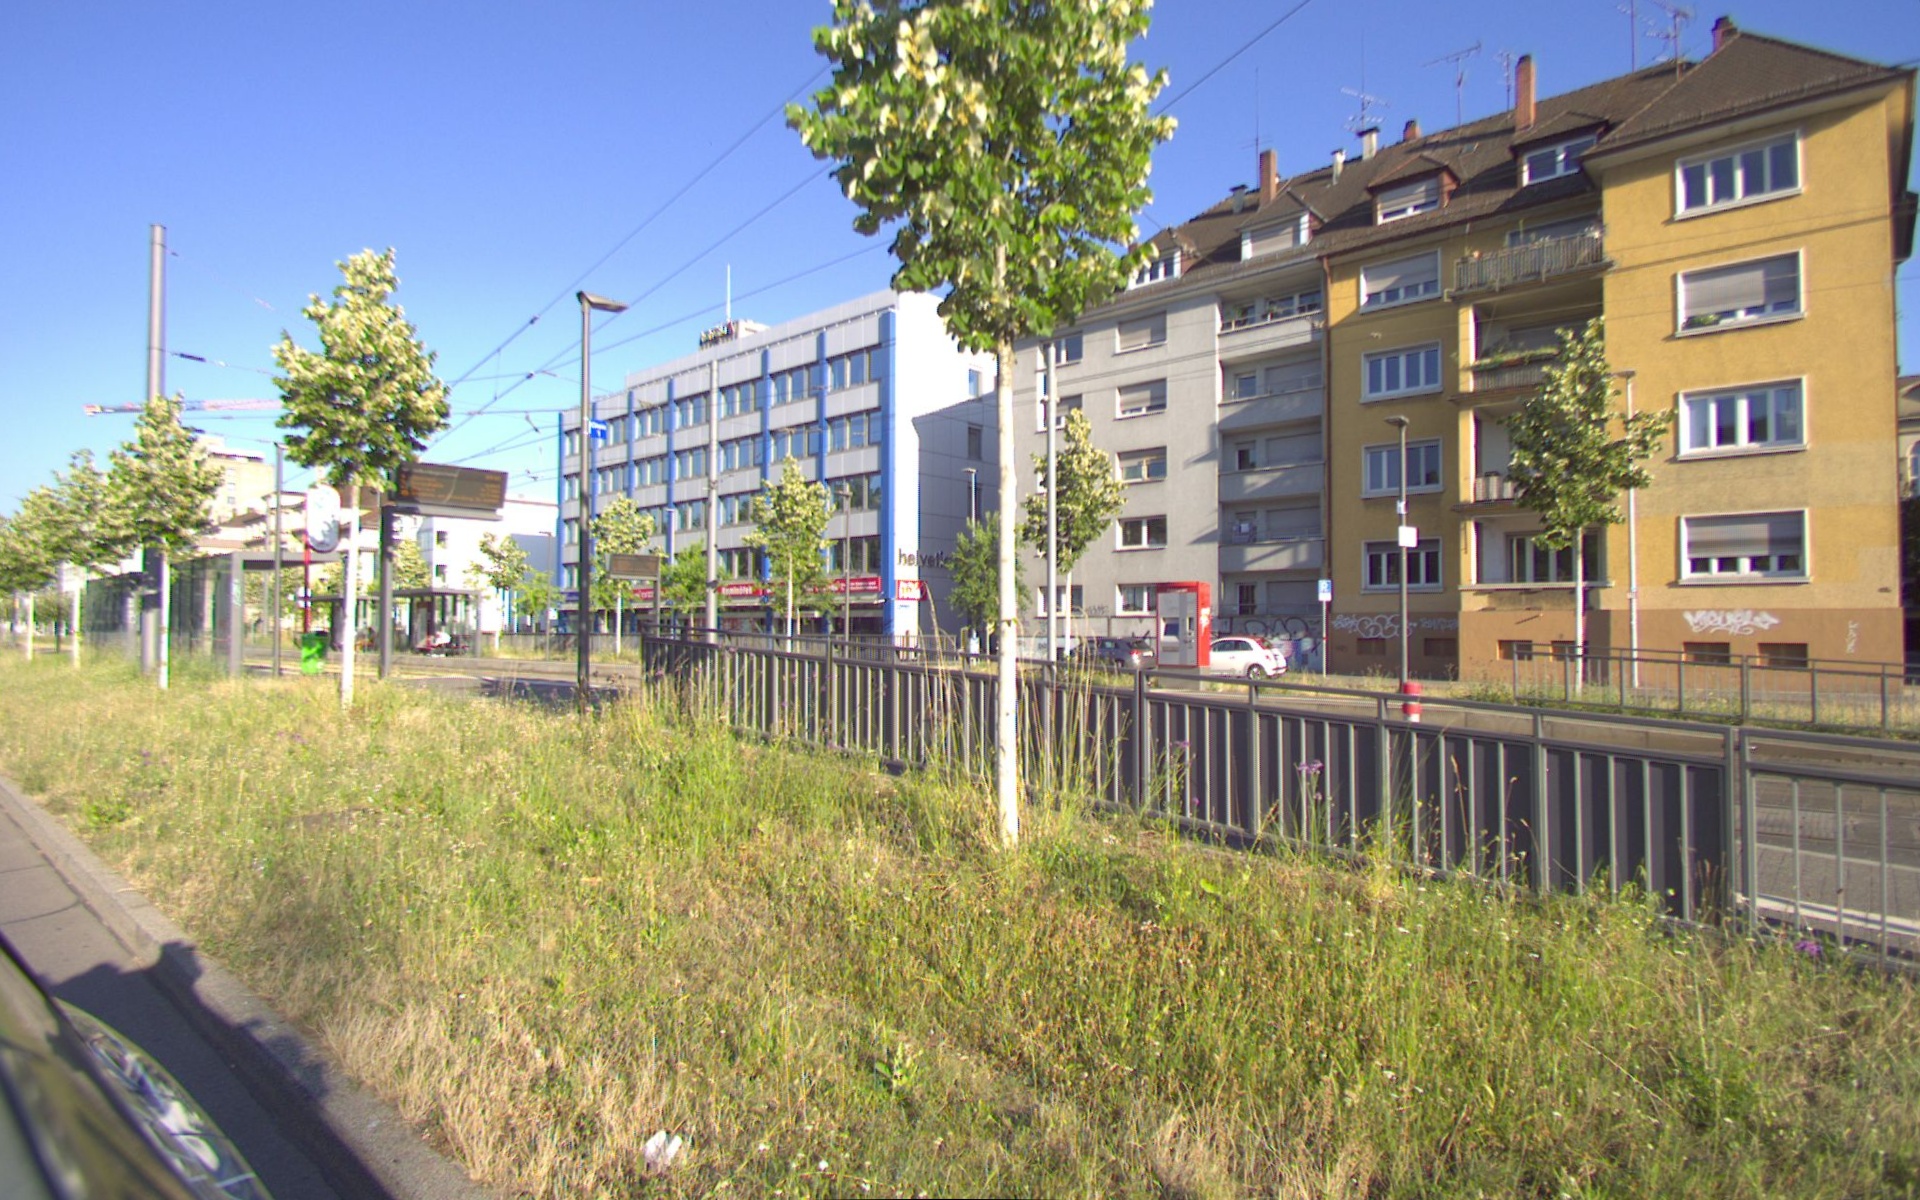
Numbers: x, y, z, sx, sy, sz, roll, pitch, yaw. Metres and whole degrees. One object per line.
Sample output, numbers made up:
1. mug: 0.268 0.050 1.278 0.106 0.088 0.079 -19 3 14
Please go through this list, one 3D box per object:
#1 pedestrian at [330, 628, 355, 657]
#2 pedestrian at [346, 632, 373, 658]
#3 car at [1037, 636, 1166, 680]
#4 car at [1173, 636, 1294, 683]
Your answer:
1. pedestrian: -30.373 2.094 49.741 0.803 1.421 0.829 -2 -3 41
2. pedestrian: -28.481 2.110 47.998 0.764 1.206 0.924 -2 -3 41
3. car: 5.261 2.126 37.930 4.429 1.519 1.973 -2 -3 41
4. car: 9.260 1.988 34.377 3.551 1.497 1.729 -2 -3 41
